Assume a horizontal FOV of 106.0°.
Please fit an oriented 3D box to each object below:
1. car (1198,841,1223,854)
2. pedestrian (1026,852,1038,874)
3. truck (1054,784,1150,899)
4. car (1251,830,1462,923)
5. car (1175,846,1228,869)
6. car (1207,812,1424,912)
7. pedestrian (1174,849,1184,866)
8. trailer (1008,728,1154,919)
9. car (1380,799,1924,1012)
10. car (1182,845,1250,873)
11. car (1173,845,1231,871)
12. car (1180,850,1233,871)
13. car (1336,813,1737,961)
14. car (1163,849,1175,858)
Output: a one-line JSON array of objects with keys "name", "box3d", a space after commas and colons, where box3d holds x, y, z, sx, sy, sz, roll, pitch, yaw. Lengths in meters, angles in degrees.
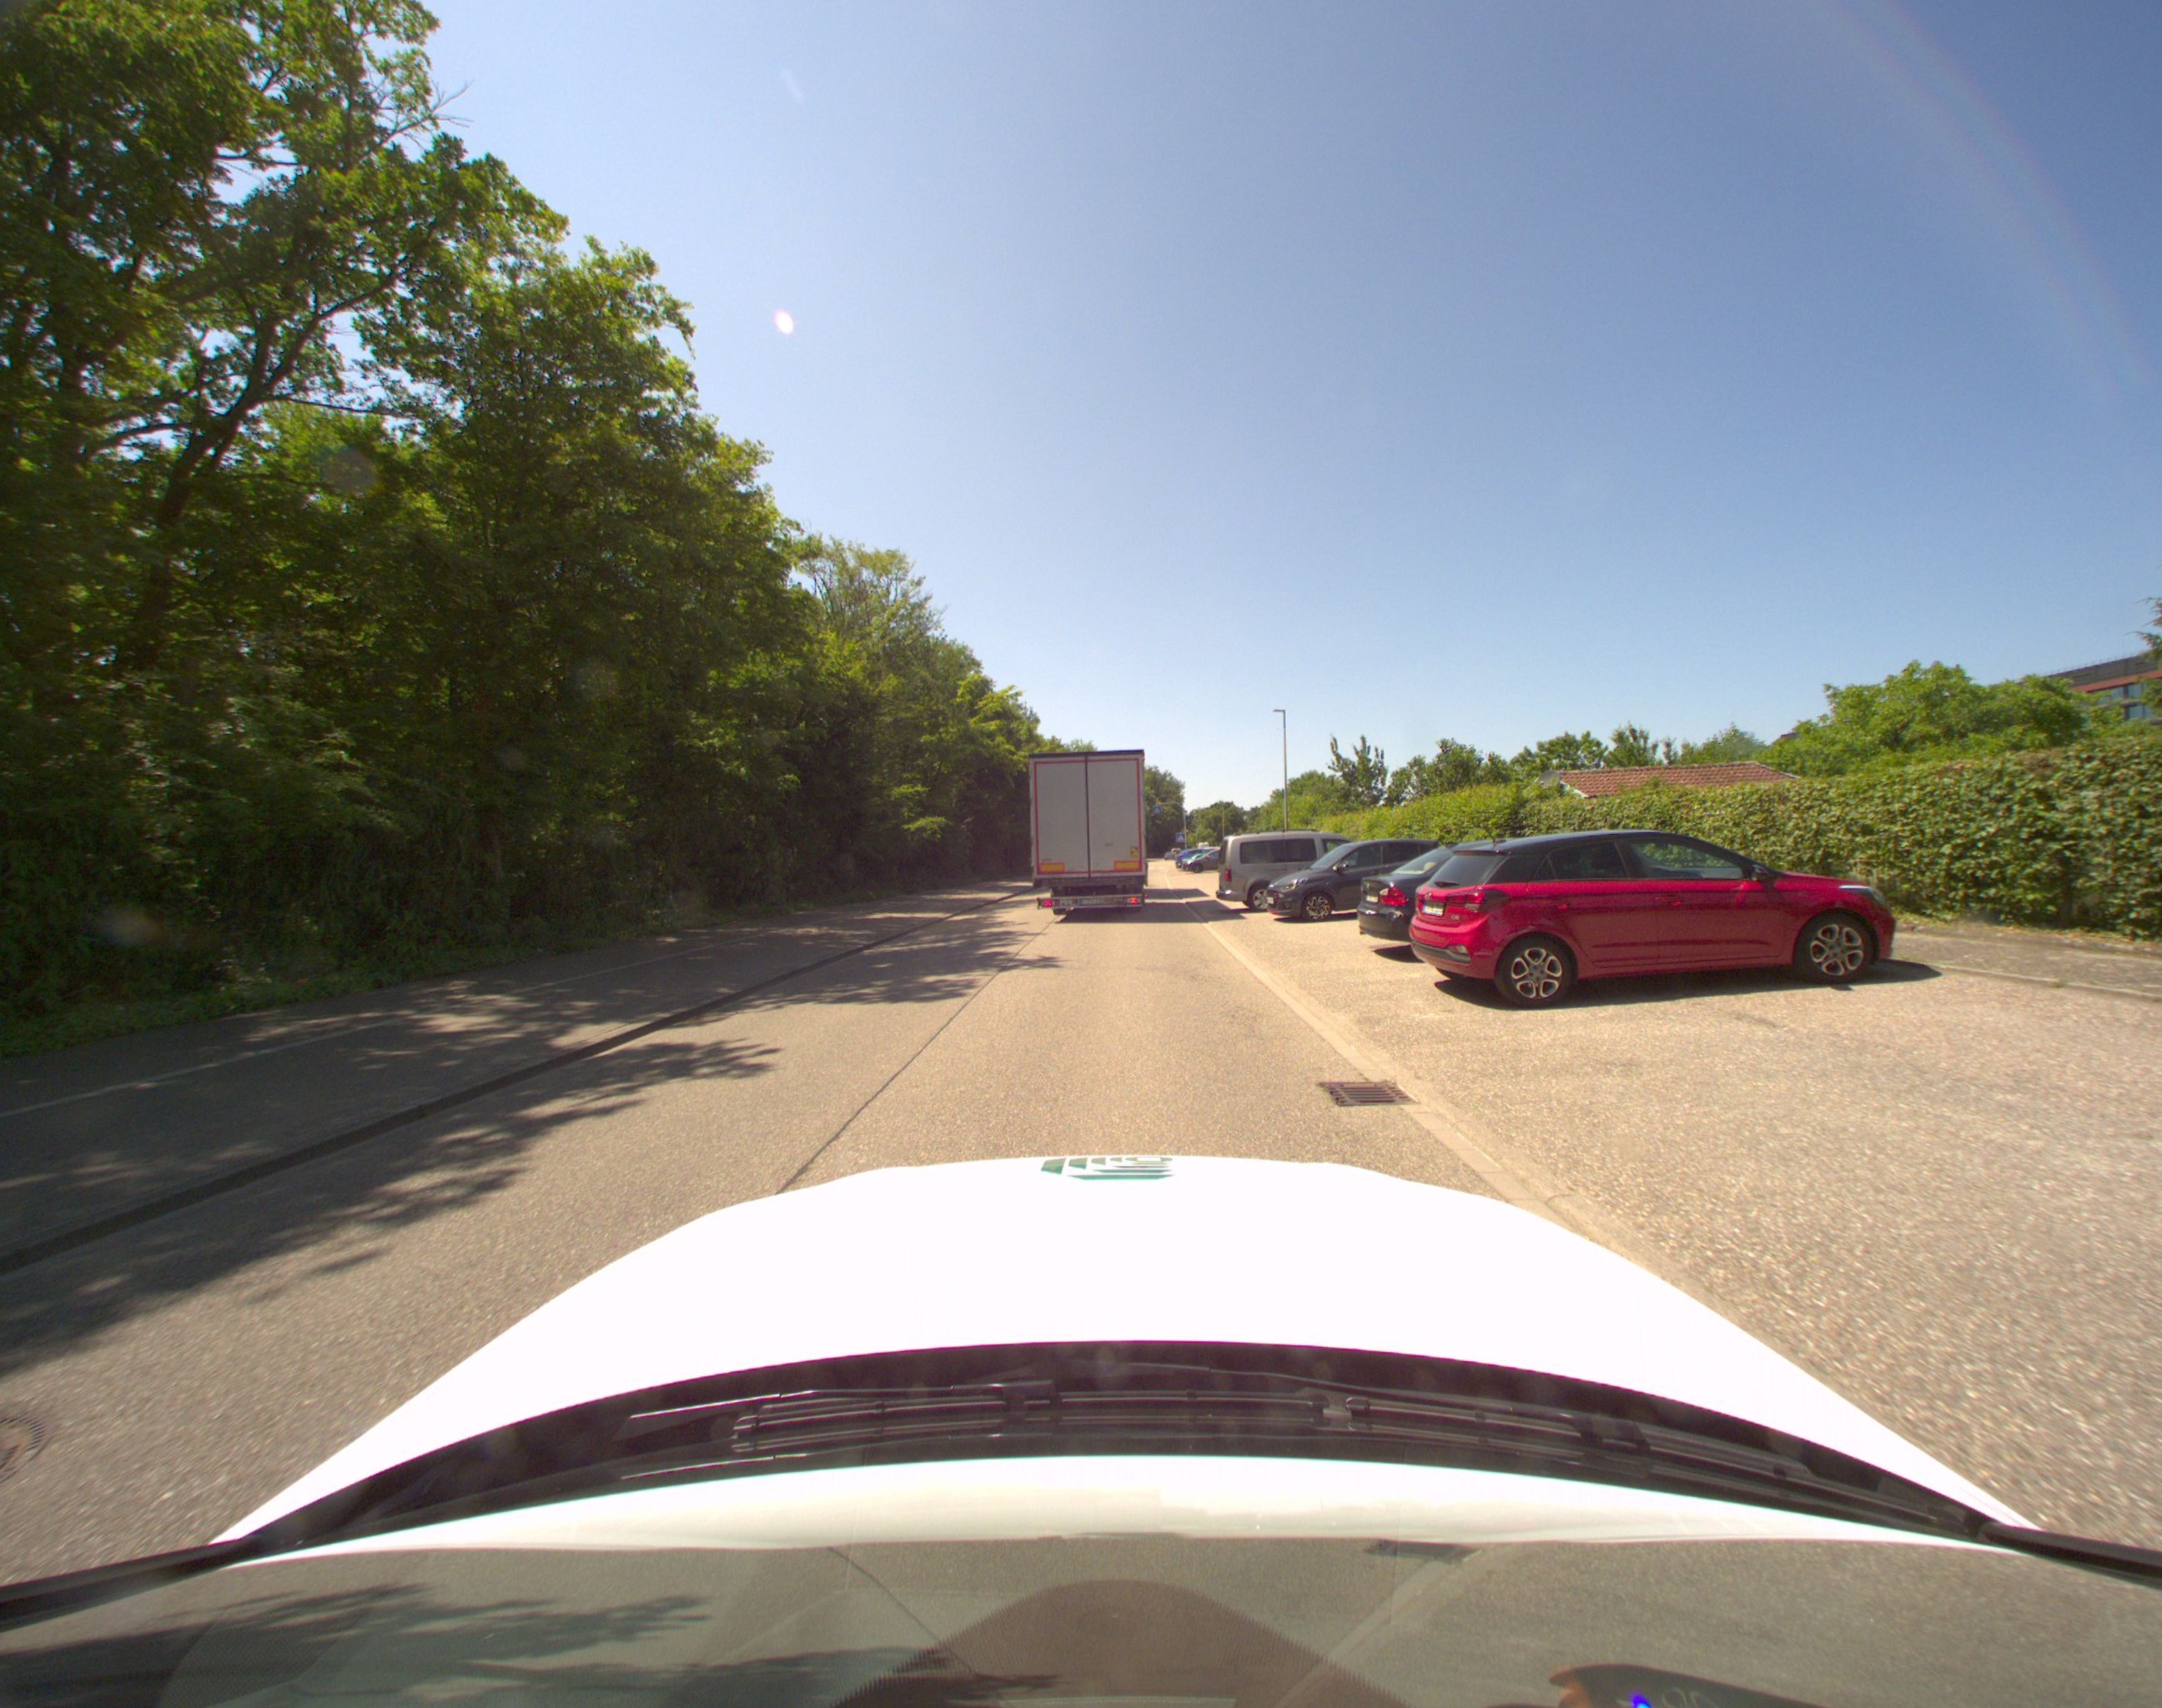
[{"name": "car", "box3d": [21.039, -1.005, 132.185, 3.933, 1.798, 1.818, -5, -3, 9]}, {"name": "pedestrian", "box3d": [-3.715, 0.694, 62.265, 0.824, 1.622, 0.784, 0, 0, 4]}, {"name": "truck", "box3d": [0.946, -0.430, 30.156, 3.100, 3.725, 6.421, -1, 0, 4]}, {"name": "car", "box3d": [5.469, 0.428, 16.508, 3.567, 1.502, 1.840, -4, 0, -3]}, {"name": "car", "box3d": [10.040, 0.298, 68.061, 4.217, 1.654, 1.902, -3, -2, 4]}, {"name": "car", "box3d": [5.508, 0.181, 19.659, 4.601, 1.848, 1.998, -6, 0, 3]}, {"name": "pedestrian", "box3d": [11.034, 0.388, 91.579, 0.816, 1.834, 0.795, -5, -1, 11]}, {"name": "trailer", "box3d": [0.414, -0.654, 23.516, 3.099, 4.102, 11.549, -1, 0, 4]}, {"name": "car", "box3d": [5.243, 0.443, 7.959, 3.903, 1.478, 1.846, -6, 0, 2]}, {"name": "car", "box3d": [8.774, 0.324, 53.105, 4.144, 1.495, 1.885, -5, -1, 4]}, {"name": "car", "box3d": [9.176, 0.282, 62.109, 4.218, 1.634, 1.825, -4, 0, 4]}, {"name": "car", "box3d": [9.094, 0.479, 59.279, 3.715, 1.268, 1.631, -5, -1, 6]}, {"name": "car", "box3d": [5.778, 0.396, 10.754, 4.188, 1.388, 1.841, -6, 0, 1]}, {"name": "car", "box3d": [14.638, -0.064, 135.183, 1.773, 1.486, 4.005, -1, 0, 4]}]
